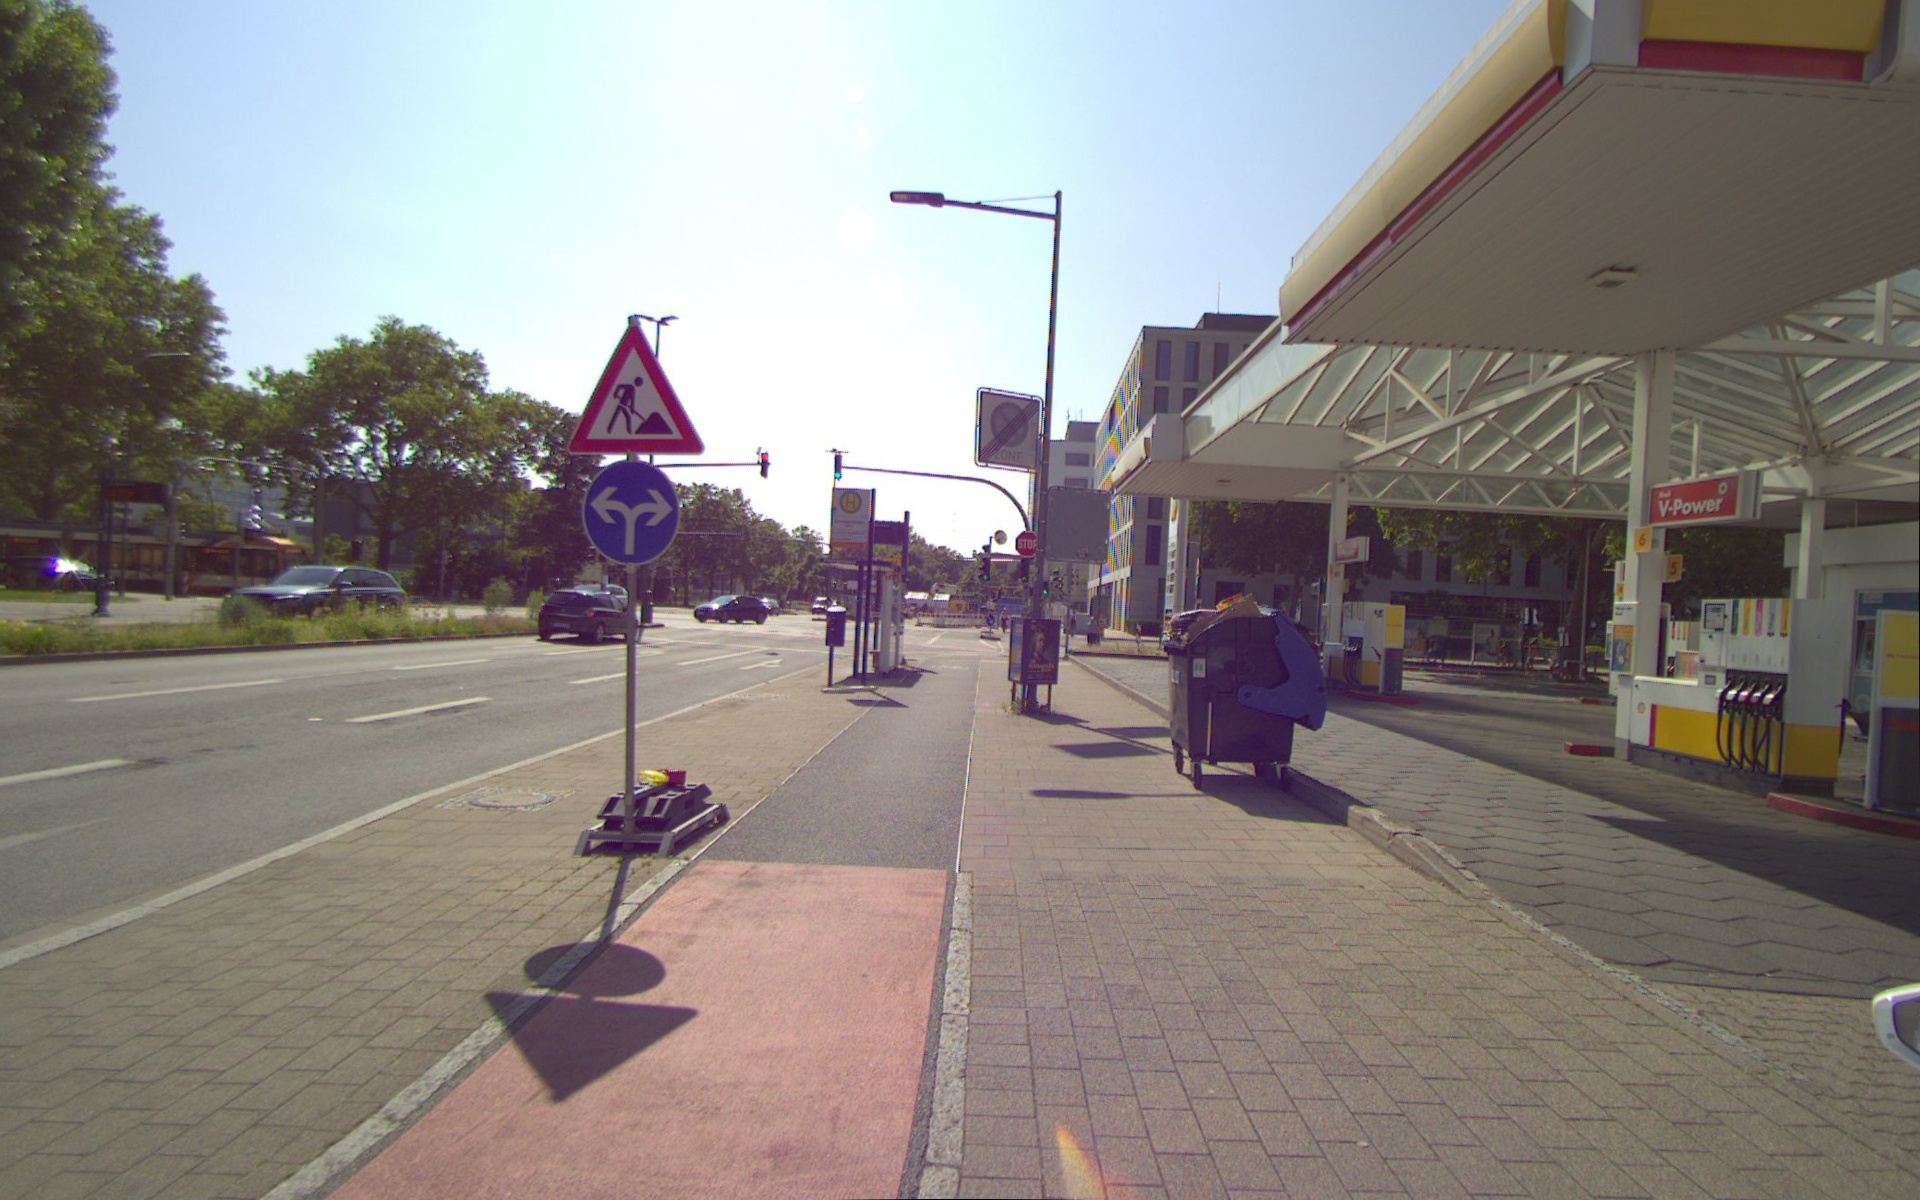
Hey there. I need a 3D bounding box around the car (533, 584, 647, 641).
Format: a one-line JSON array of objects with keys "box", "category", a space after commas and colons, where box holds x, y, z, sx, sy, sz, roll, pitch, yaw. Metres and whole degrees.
[{"box": [-10.688, 0.357, 29.306, 1.652, 1.384, 4.003, 5, 0, 1], "category": "car"}]

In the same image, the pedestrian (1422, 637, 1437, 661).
[{"box": [23.528, 2.472, 50.302, 0.490, 1.153, 0.524, 3, 0, 8], "category": "pedestrian"}]

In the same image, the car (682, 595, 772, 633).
[{"box": [-12.182, 0.754, 52.693, 1.966, 1.792, 4.378, 3, 0, 34], "category": "car"}]

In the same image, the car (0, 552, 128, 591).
[{"box": [-40.094, -1.246, 45.028, 3.924, 1.533, 1.868, 2, -1, -5], "category": "car"}]

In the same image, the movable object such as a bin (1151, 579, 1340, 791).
[{"box": [2.464, 0.704, 8.901, 1.316, 1.710, 1.338, 1, 0, 3], "category": "movable object such as a bin"}]

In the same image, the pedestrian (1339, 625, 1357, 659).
[{"box": [19.414, 2.083, 50.257, 0.574, 1.613, 0.670, 3, 1, 1], "category": "pedestrian"}]

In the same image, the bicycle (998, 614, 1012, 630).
[{"box": [3.296, 1.575, 73.784, 0.628, 1.096, 2.023, 3, 0, -8], "category": "bicycle"}]

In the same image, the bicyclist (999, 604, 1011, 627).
[{"box": [3.317, 1.116, 73.787, 0.628, 1.601, 1.172, 3, 0, -7], "category": "bicyclist"}]

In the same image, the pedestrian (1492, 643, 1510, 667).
[{"box": [27.082, 2.759, 50.288, 0.617, 1.153, 0.524, 3, 0, 8], "category": "pedestrian"}]

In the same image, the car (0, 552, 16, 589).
[{"box": [-46.027, -1.420, 45.951, 3.920, 1.712, 1.870, 1, -1, 3], "category": "car"}]

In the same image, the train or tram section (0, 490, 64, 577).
[{"box": [-58.055, -3.999, 55.102, 15.612, 4.549, 2.329, 3, -1, 1], "category": "train or tram section"}]

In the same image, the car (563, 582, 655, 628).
[{"box": [-15.176, 0.243, 43.648, 1.960, 1.792, 4.393, 3, 0, 7], "category": "car"}]

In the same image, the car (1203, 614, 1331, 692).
[{"box": [6.876, 1.136, 22.896, 1.715, 1.552, 4.001, 2, -1, 1], "category": "car"}]

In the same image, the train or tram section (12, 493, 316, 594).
[{"box": [-43.320, -3.042, 54.871, 14.649, 4.549, 2.329, 3, -1, 1], "category": "train or tram section"}]

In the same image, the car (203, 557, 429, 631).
[{"box": [-15.927, -0.115, 25.335, 1.960, 1.632, 5.660, 1, 0, 1], "category": "car"}]
